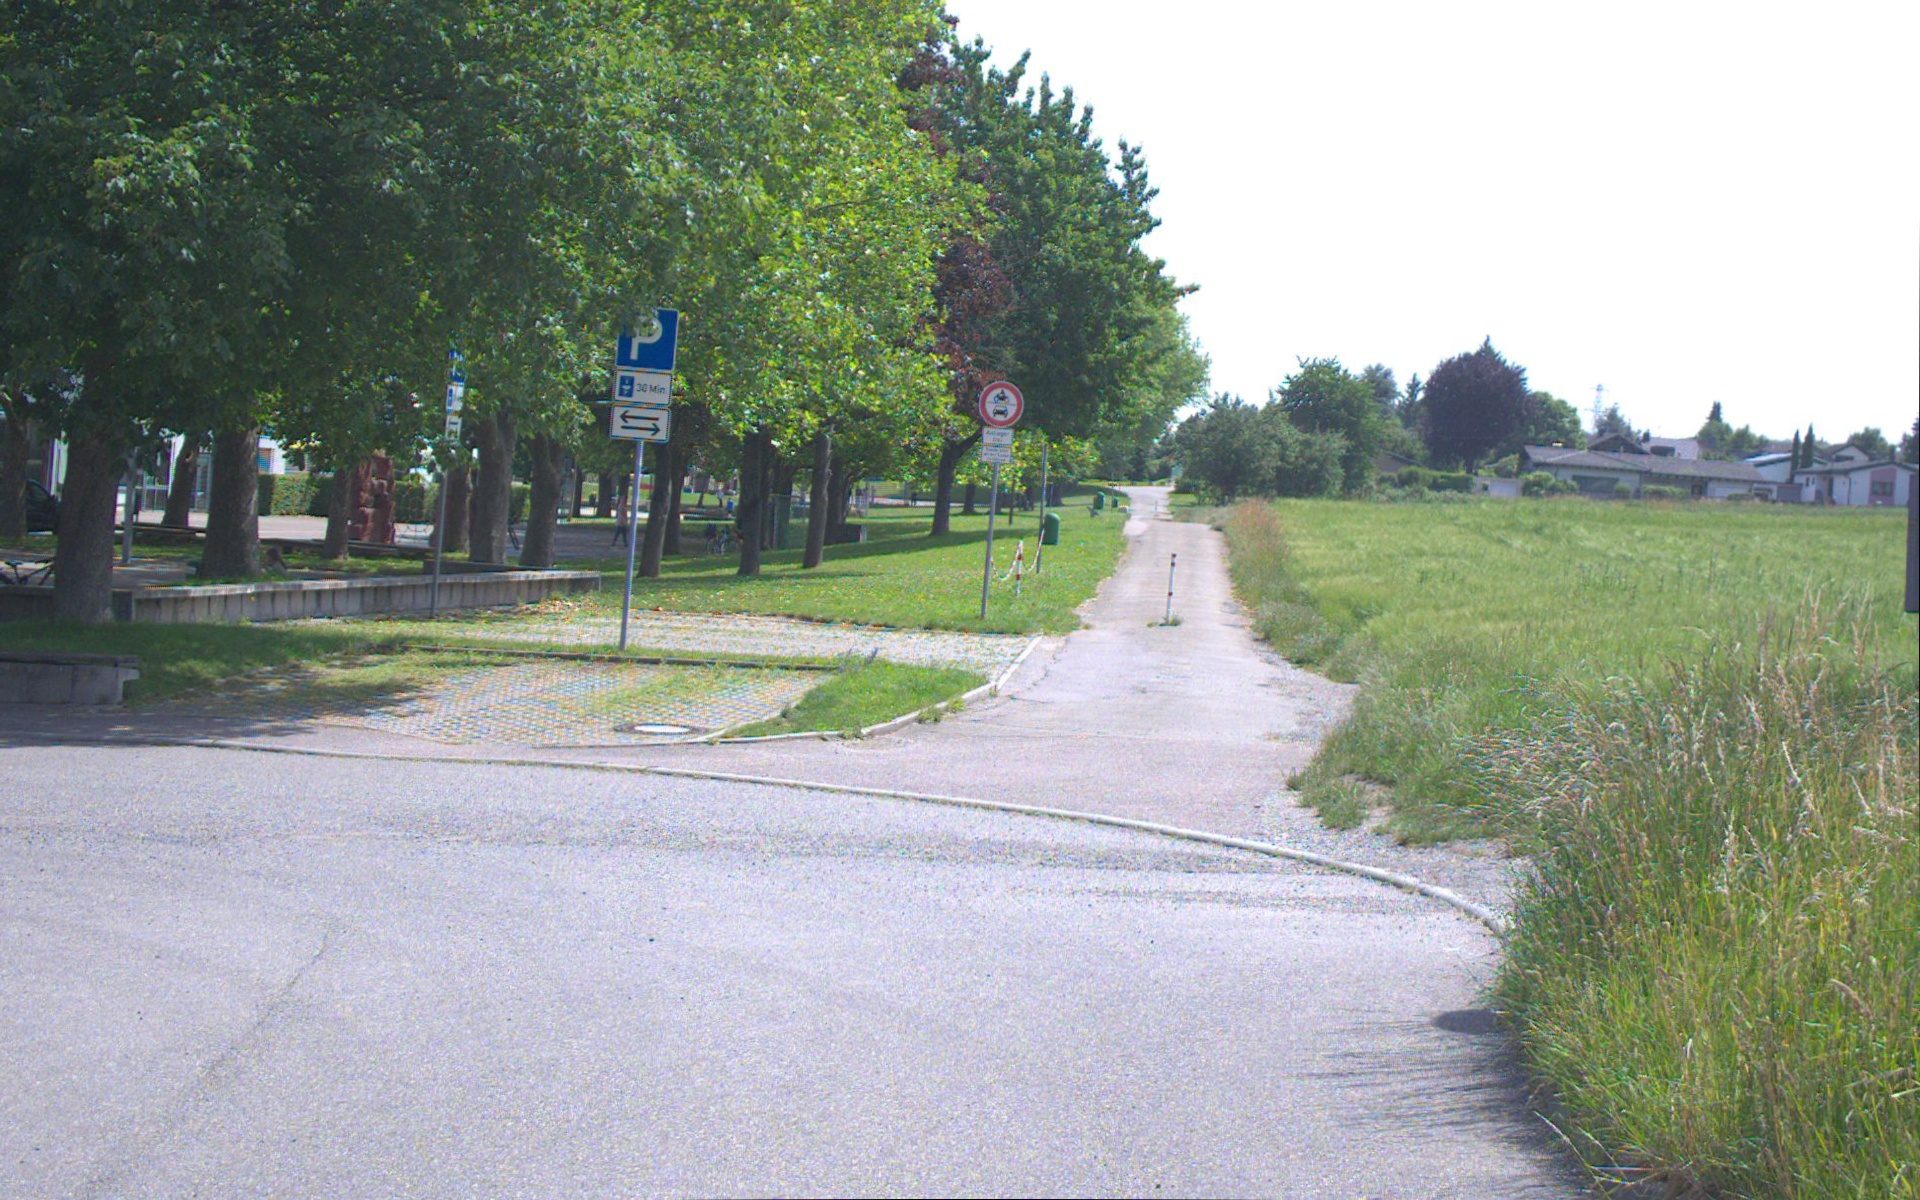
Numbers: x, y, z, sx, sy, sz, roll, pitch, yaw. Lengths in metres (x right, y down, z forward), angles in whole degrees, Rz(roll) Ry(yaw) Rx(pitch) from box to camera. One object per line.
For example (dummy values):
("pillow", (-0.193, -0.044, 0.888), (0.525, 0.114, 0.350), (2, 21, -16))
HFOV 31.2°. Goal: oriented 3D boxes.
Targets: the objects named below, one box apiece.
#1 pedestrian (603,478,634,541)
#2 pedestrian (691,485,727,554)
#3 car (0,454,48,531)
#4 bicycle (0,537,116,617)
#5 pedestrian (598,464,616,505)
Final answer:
("pedestrian", (-11.186, -2.952, 112.572), (0.832, 2.007, 0.692), (3, 1, -13))
("pedestrian", (-7.582, -2.434, 103.749), (0.682, 2.007, 0.803), (3, 1, -30))
("car", (-23.712, -2.656, 84.302), (1.691, 1.828, 3.411), (3, 1, 0))
("bicycle", (-12.700, -0.320, 47.189), (2.062, 1.035, 0.572), (2, 1, -5))
("pedestrian", (-17.232, -5.631, 167.948), (0.723, 2.007, 0.682), (0, 1, 6))
